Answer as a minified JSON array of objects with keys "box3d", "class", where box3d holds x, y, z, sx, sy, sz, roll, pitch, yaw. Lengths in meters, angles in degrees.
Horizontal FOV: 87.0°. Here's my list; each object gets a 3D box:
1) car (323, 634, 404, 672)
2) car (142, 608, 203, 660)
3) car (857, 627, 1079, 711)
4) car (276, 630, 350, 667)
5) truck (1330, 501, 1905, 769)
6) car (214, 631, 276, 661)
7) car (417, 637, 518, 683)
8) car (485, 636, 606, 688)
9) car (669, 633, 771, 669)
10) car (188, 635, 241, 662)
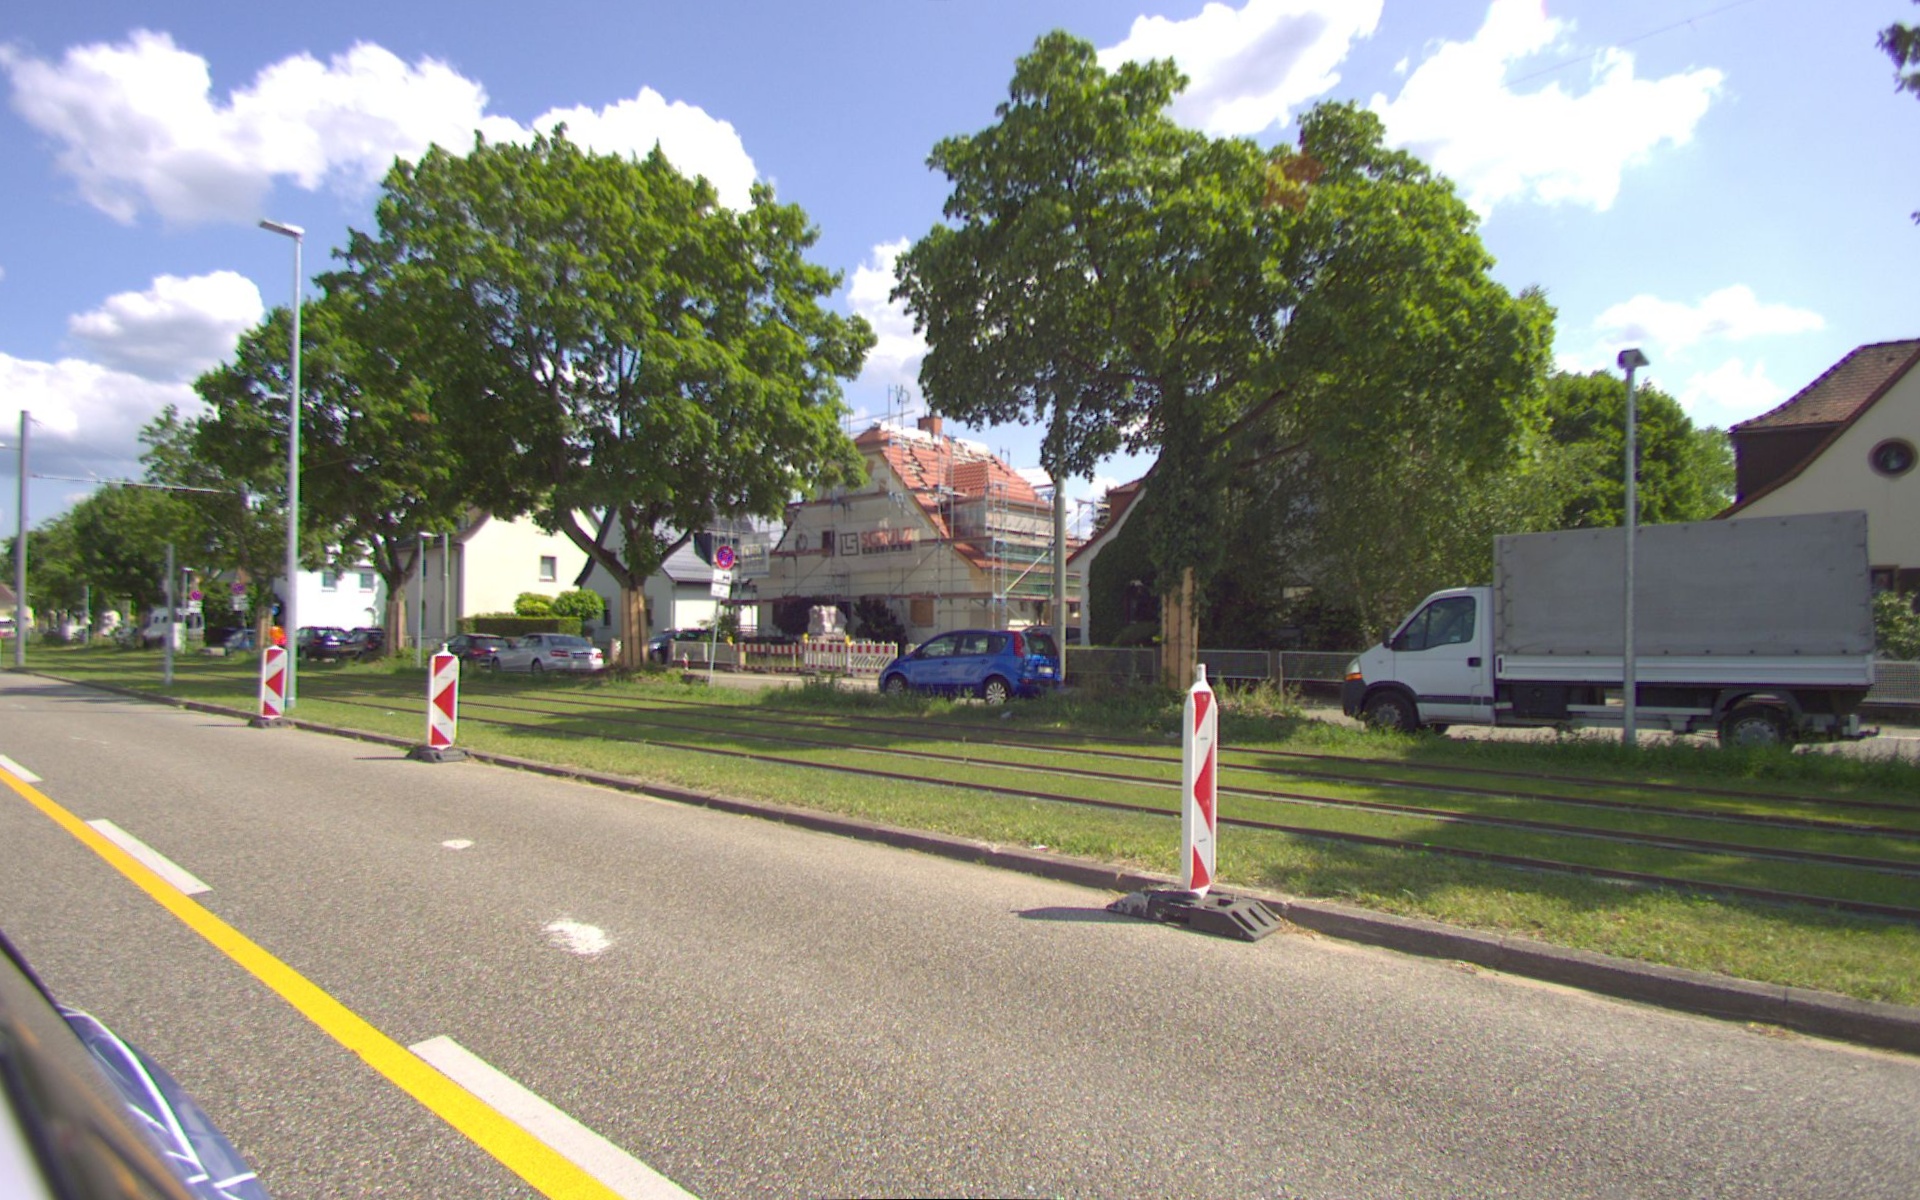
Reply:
[{"box3d":[-25.176,2.259,42.654,4.403,1.497,1.680,-3,-3,41],"class":"car"},{"box3d":[-49.512,2.167,63.610,5.080,3.061,2.108,-3,-3,41],"class":"car"},{"box3d":[0.069,1.358,20.282,4.403,1.497,1.680,-3,-3,41],"class":"car"},{"box3d":[-29.490,2.230,46.077,4.403,1.584,1.680,-3,-3,41],"class":"car"},{"box3d":[8.302,0.461,13.404,5.971,2.802,2.242,-2,-3,41],"class":"truck"},{"box3d":[-37.490,2.434,53.053,4.403,1.497,1.680,-3,-3,41],"class":"car"},{"box3d":[-17.517,2.125,35.896,4.403,1.497,1.680,-3,-3,41],"class":"car"},{"box3d":[-13.096,1.937,31.840,4.520,1.497,1.765,-4,-3,42],"class":"car"},{"box3d":[-10.922,2.299,46.213,1.702,1.497,4.345,-3,-3,41],"class":"car"},{"box3d":[-44.473,2.881,60.333,4.403,1.497,1.680,-3,-3,41],"class":"car"}]
